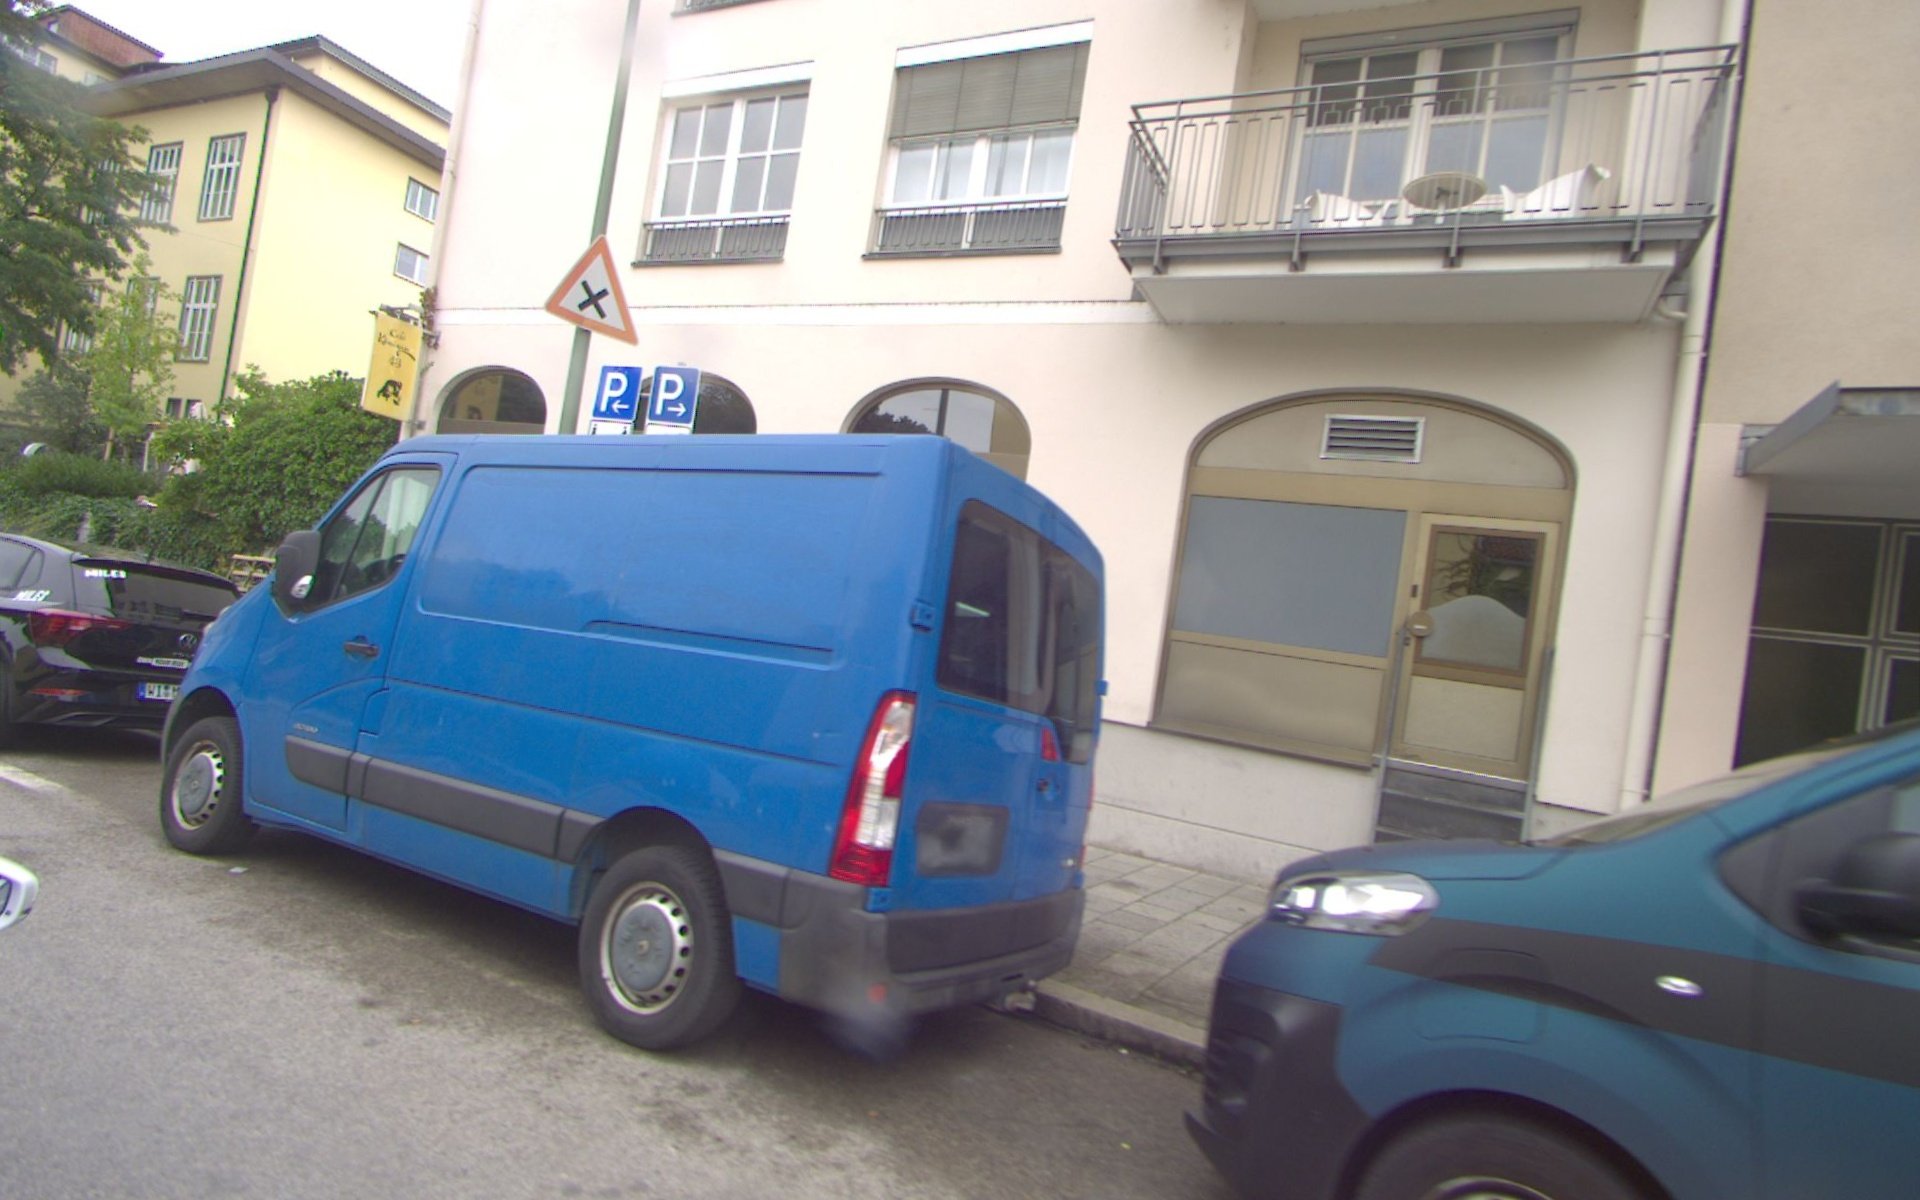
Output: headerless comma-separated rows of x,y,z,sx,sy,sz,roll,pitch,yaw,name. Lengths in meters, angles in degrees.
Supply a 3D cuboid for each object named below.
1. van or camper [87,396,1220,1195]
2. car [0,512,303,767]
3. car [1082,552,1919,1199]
-1.741,0.443,5.100,5.345,2.252,2.070,7,-6,29,van or camper
-7.352,0.159,7.860,3.887,1.532,1.713,7,-6,25,car
2.992,1.186,2.264,4.853,1.834,1.972,7,-5,31,car
